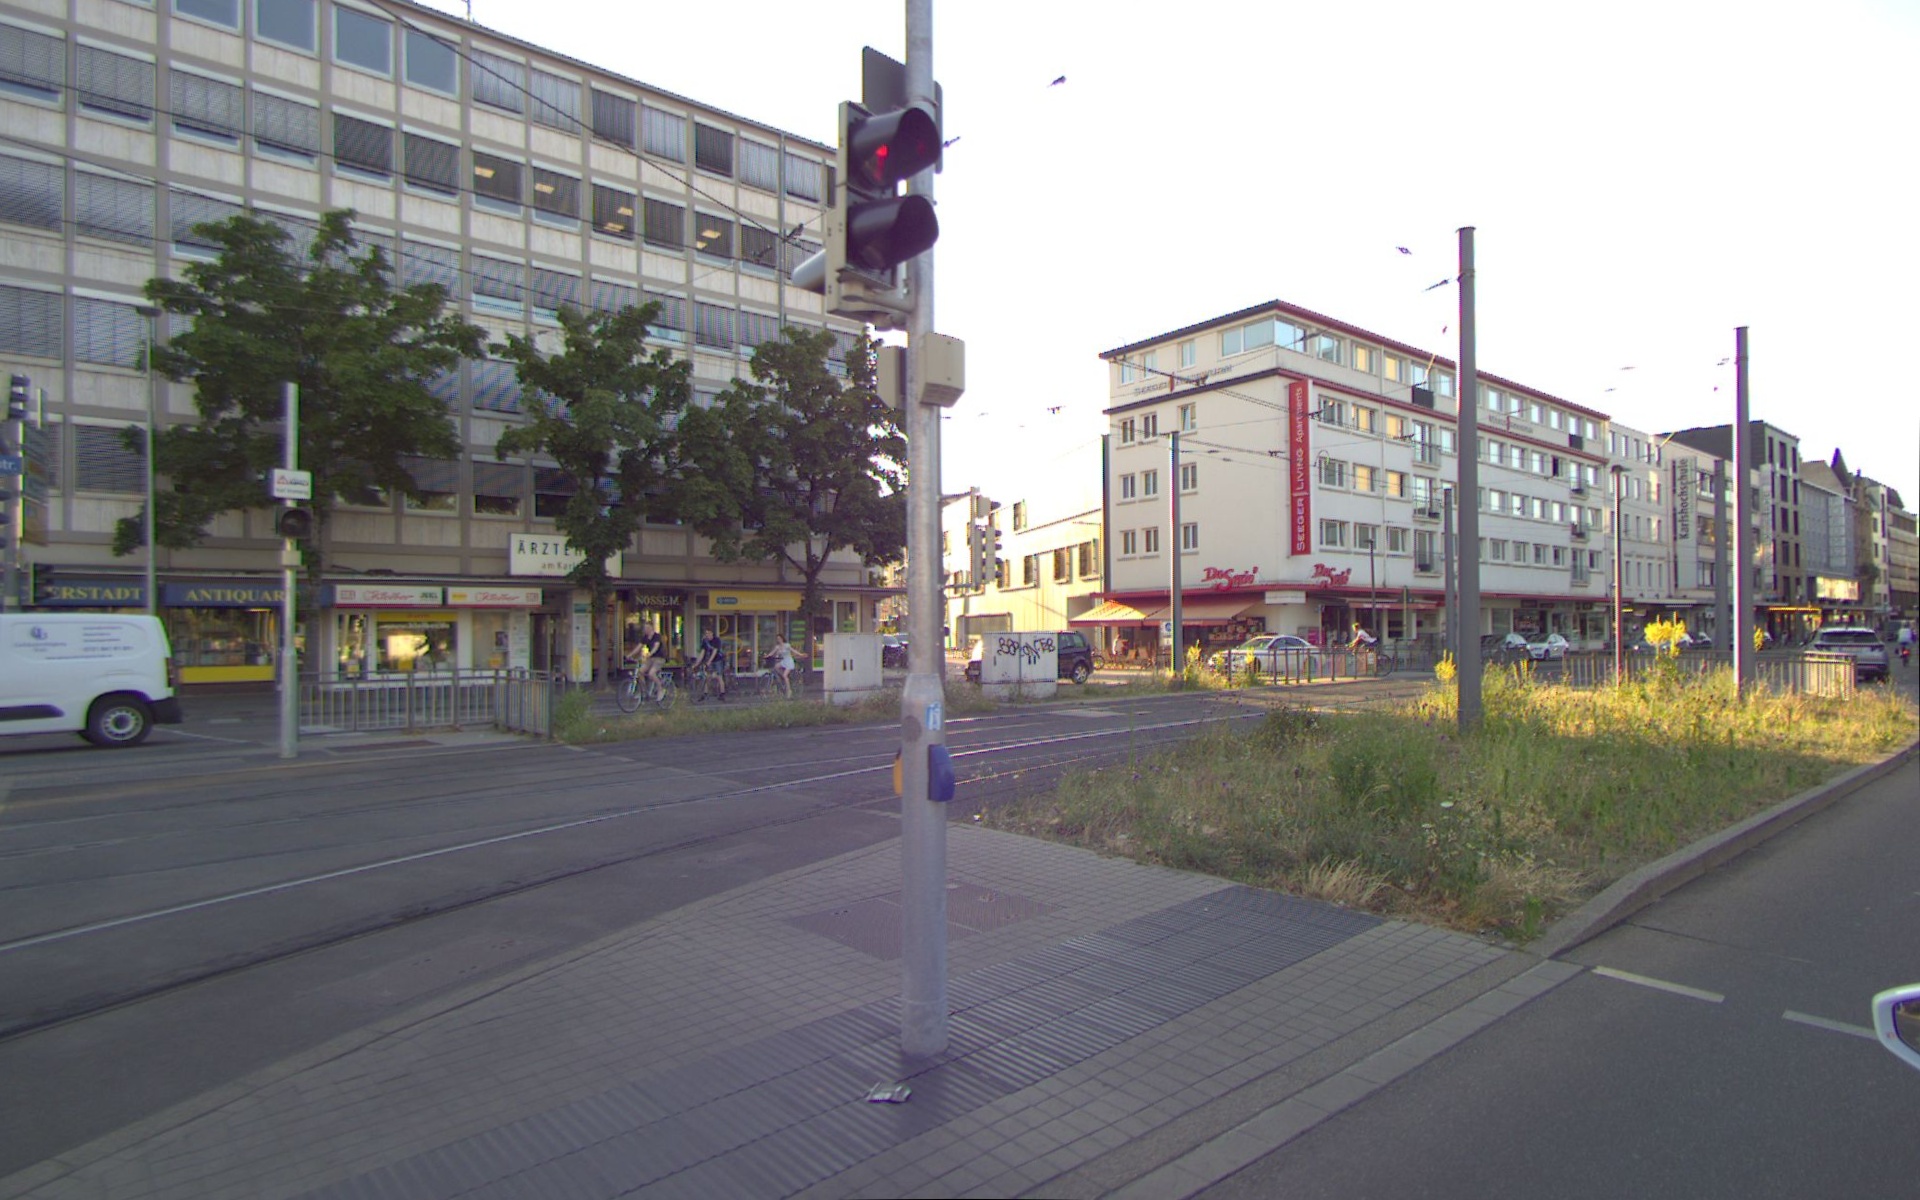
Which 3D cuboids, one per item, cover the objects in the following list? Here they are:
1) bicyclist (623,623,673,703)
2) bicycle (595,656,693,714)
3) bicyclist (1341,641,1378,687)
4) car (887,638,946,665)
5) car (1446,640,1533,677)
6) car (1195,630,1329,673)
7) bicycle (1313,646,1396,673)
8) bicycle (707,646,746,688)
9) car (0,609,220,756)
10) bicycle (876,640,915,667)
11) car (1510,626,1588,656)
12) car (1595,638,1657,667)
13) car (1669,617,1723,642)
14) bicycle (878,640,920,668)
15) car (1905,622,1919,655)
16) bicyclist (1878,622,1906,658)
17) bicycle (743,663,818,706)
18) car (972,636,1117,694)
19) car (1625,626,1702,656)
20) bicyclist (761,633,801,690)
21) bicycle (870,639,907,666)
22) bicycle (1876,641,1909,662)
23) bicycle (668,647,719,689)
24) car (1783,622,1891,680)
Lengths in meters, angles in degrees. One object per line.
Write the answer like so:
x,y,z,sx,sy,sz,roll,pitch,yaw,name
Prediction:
-6.528,1.312,21.023,0.723,1.633,0.699,-1,-2,26,bicyclist
-6.557,1.742,20.956,0.742,1.090,2.056,-1,-2,26,bicycle
12.884,2.051,32.440,0.912,1.460,0.836,0,-1,7,bicyclist
-2.843,3.294,64.919,1.868,1.595,4.208,1,-2,-36,car
26.461,2.867,50.175,4.794,1.687,1.980,1,-2,-36,car
11.022,1.842,36.608,4.603,1.460,2.026,1,-2,-28,car
12.730,1.916,32.474,2.373,0.858,0.847,0,-2,7,bicycle
-7.124,2.015,30.584,0.534,1.200,1.619,1,-1,-38,bicycle
-12.965,1.066,13.300,1.973,1.862,4.847,-2,-2,43,car
-2.970,2.488,46.485,1.693,1.201,0.537,3,-3,-22,bicycle
31.203,2.139,53.182,4.360,1.484,1.980,1,-2,-36,car
41.541,3.246,62.614,3.962,1.687,1.980,1,-2,-36,car
51.536,2.081,70.336,3.962,1.687,1.980,2,-2,-36,car
-2.758,2.424,45.431,1.755,1.201,0.551,3,-3,-22,bicycle
54.330,2.121,56.137,3.968,1.832,1.793,1,-2,-41,car
41.273,1.757,44.469,0.781,1.589,0.822,1,-2,-41,bicyclist
-4.434,2.078,24.935,0.712,0.942,1.949,-1,-2,32,bicycle
2.594,1.913,30.428,4.268,1.595,1.977,1,-2,-40,car
38.558,2.201,55.023,4.237,1.580,2.184,1,-2,-35,car
-4.439,1.513,24.946,0.704,1.387,0.682,-1,-2,34,bicyclist
-3.388,2.486,47.619,1.662,1.201,0.483,3,-3,-22,bicycle
41.416,2.280,44.619,2.530,0.881,0.822,1,-2,-41,bicycle
-8.008,2.023,30.145,1.722,1.155,0.662,-1,-1,44,bicycle
27.256,1.526,31.365,1.917,1.683,4.523,-1,-2,34,car
